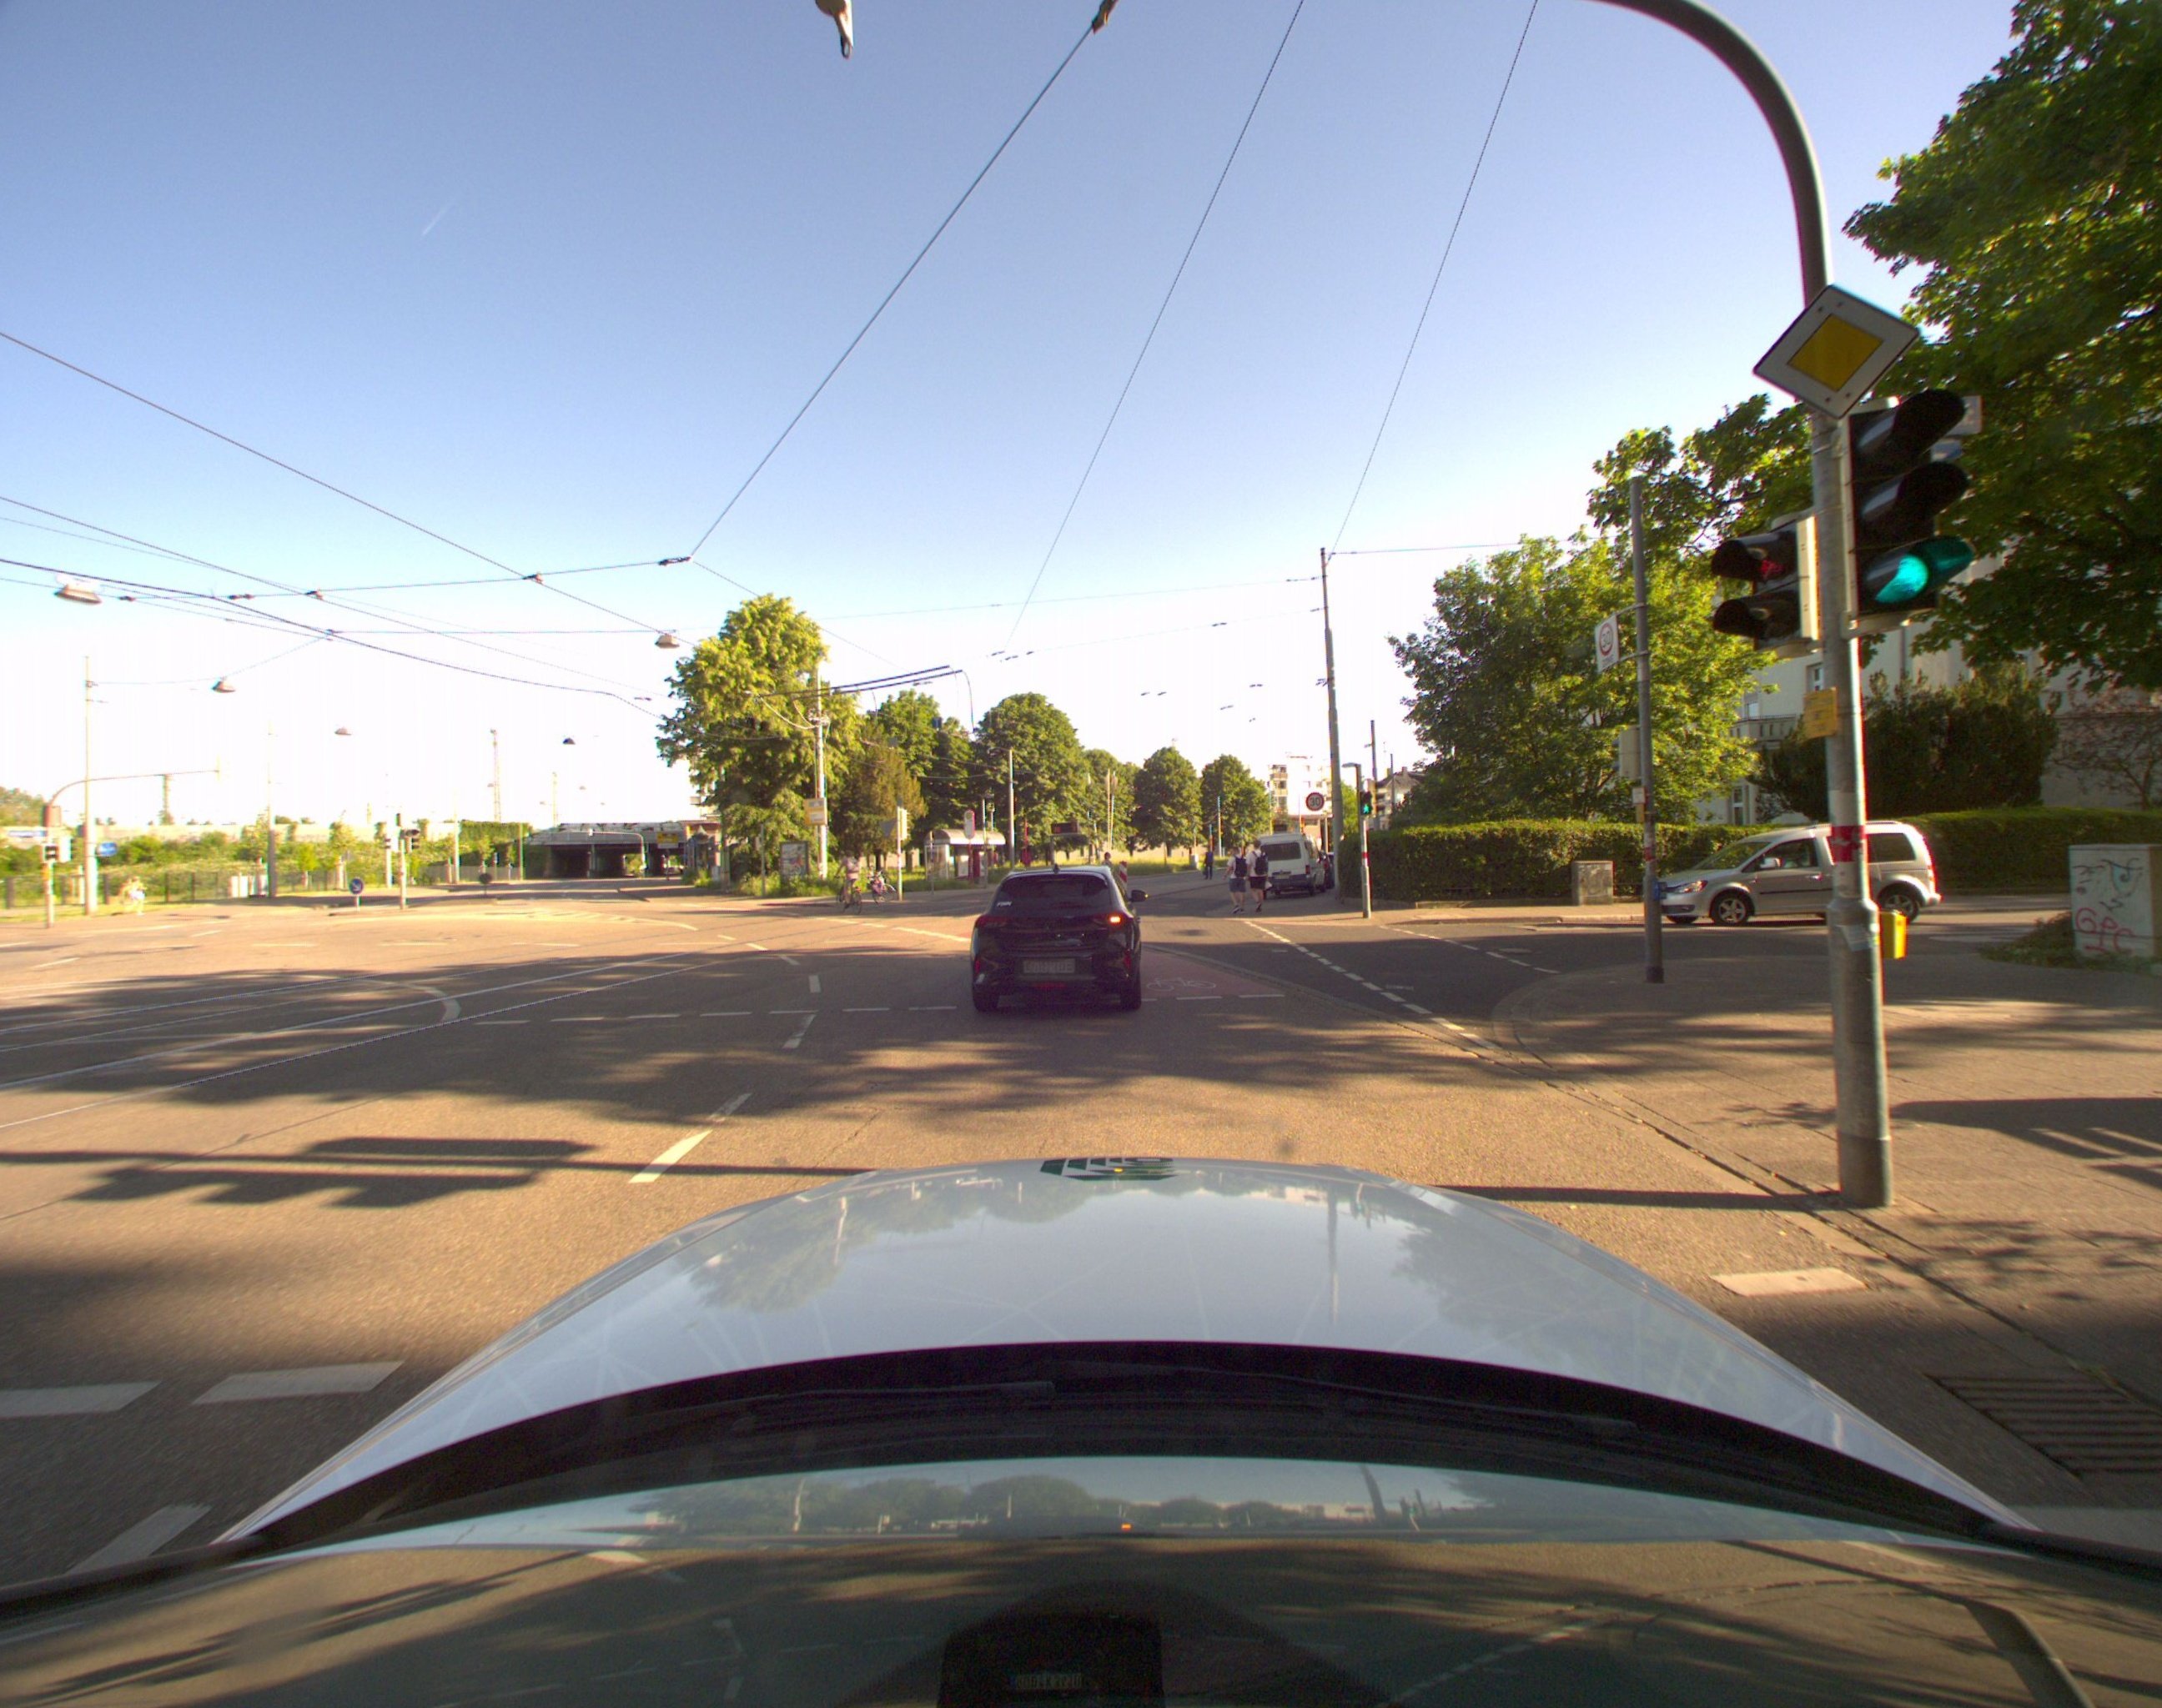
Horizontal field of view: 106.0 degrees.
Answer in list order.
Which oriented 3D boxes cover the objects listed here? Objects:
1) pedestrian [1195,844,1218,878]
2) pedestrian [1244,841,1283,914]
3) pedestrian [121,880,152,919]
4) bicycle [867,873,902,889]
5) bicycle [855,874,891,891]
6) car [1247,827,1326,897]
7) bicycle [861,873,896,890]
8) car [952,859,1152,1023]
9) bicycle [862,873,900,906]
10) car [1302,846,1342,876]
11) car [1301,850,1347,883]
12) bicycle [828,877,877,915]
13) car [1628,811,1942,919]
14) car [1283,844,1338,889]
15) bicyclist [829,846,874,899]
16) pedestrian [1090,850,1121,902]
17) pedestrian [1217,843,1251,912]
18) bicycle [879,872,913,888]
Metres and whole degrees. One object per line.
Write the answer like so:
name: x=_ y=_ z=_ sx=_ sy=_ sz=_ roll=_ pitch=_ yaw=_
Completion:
pedestrian: x=6.743 y=0.358 z=43.688 sx=0.949 sy=1.793 sz=1.001 roll=-2 pitch=-1 yaw=24
pedestrian: x=4.749 y=0.606 z=21.214 sx=0.696 sy=1.846 sz=0.705 roll=-2 pitch=-1 yaw=38
pedestrian: x=-39.509 y=1.890 z=34.066 sx=0.602 sy=1.596 sz=0.679 roll=0 pitch=-2 yaw=-27
bicycle: x=-11.591 y=1.590 z=48.029 sx=1.867 sy=0.906 sz=0.660 roll=-2 pitch=0 yaw=5
bicycle: x=-11.790 y=1.614 z=46.167 sx=1.867 sy=0.906 sz=0.660 roll=-2 pitch=0 yaw=5
car: x=7.396 y=0.300 z=28.968 sx=2.071 sy=2.278 sz=4.329 roll=-1 pitch=-1 yaw=23
bicycle: x=-11.718 y=1.600 z=47.154 sx=1.867 sy=0.906 sz=0.660 roll=-2 pitch=0 yaw=5
car: x=-0.193 y=0.813 z=9.454 sx=1.793 sy=1.441 sz=3.942 roll=-2 pitch=0 yaw=2
bicycle: x=-7.139 y=1.256 z=29.118 sx=0.822 sy=1.059 sz=1.883 roll=-2 pitch=0 yaw=1
car: x=13.046 y=0.359 z=43.937 sx=1.785 sy=1.476 sz=3.960 roll=-2 pitch=0 yaw=20
car: x=11.744 y=0.565 z=39.220 sx=1.785 sy=1.476 sz=3.960 roll=-2 pitch=0 yaw=20
bicycle: x=-6.939 y=1.246 z=24.654 sx=0.672 sy=1.059 sz=2.058 roll=-1 pitch=0 yaw=-38
car: x=13.163 y=0.255 z=15.493 sx=4.154 sy=1.814 sz=1.809 roll=-2 pitch=-3 yaw=7
car: x=9.661 y=0.490 z=34.119 sx=1.785 sy=1.763 sz=3.912 roll=-2 pitch=0 yaw=21
bicyclist: x=-6.951 y=0.552 z=24.613 sx=0.847 sy=1.510 sz=1.353 roll=-1 pitch=-1 yaw=-37
pedestrian: x=0.819 y=0.738 z=27.229 sx=0.702 sy=1.693 sz=0.721 roll=-1 pitch=-1 yaw=-29
pedestrian: x=4.056 y=0.623 z=21.620 sx=0.696 sy=1.792 sz=0.617 roll=-2 pitch=-1 yaw=-2
bicycle: x=-11.345 y=1.615 z=49.894 sx=1.867 sy=0.906 sz=0.660 roll=-2 pitch=0 yaw=5
